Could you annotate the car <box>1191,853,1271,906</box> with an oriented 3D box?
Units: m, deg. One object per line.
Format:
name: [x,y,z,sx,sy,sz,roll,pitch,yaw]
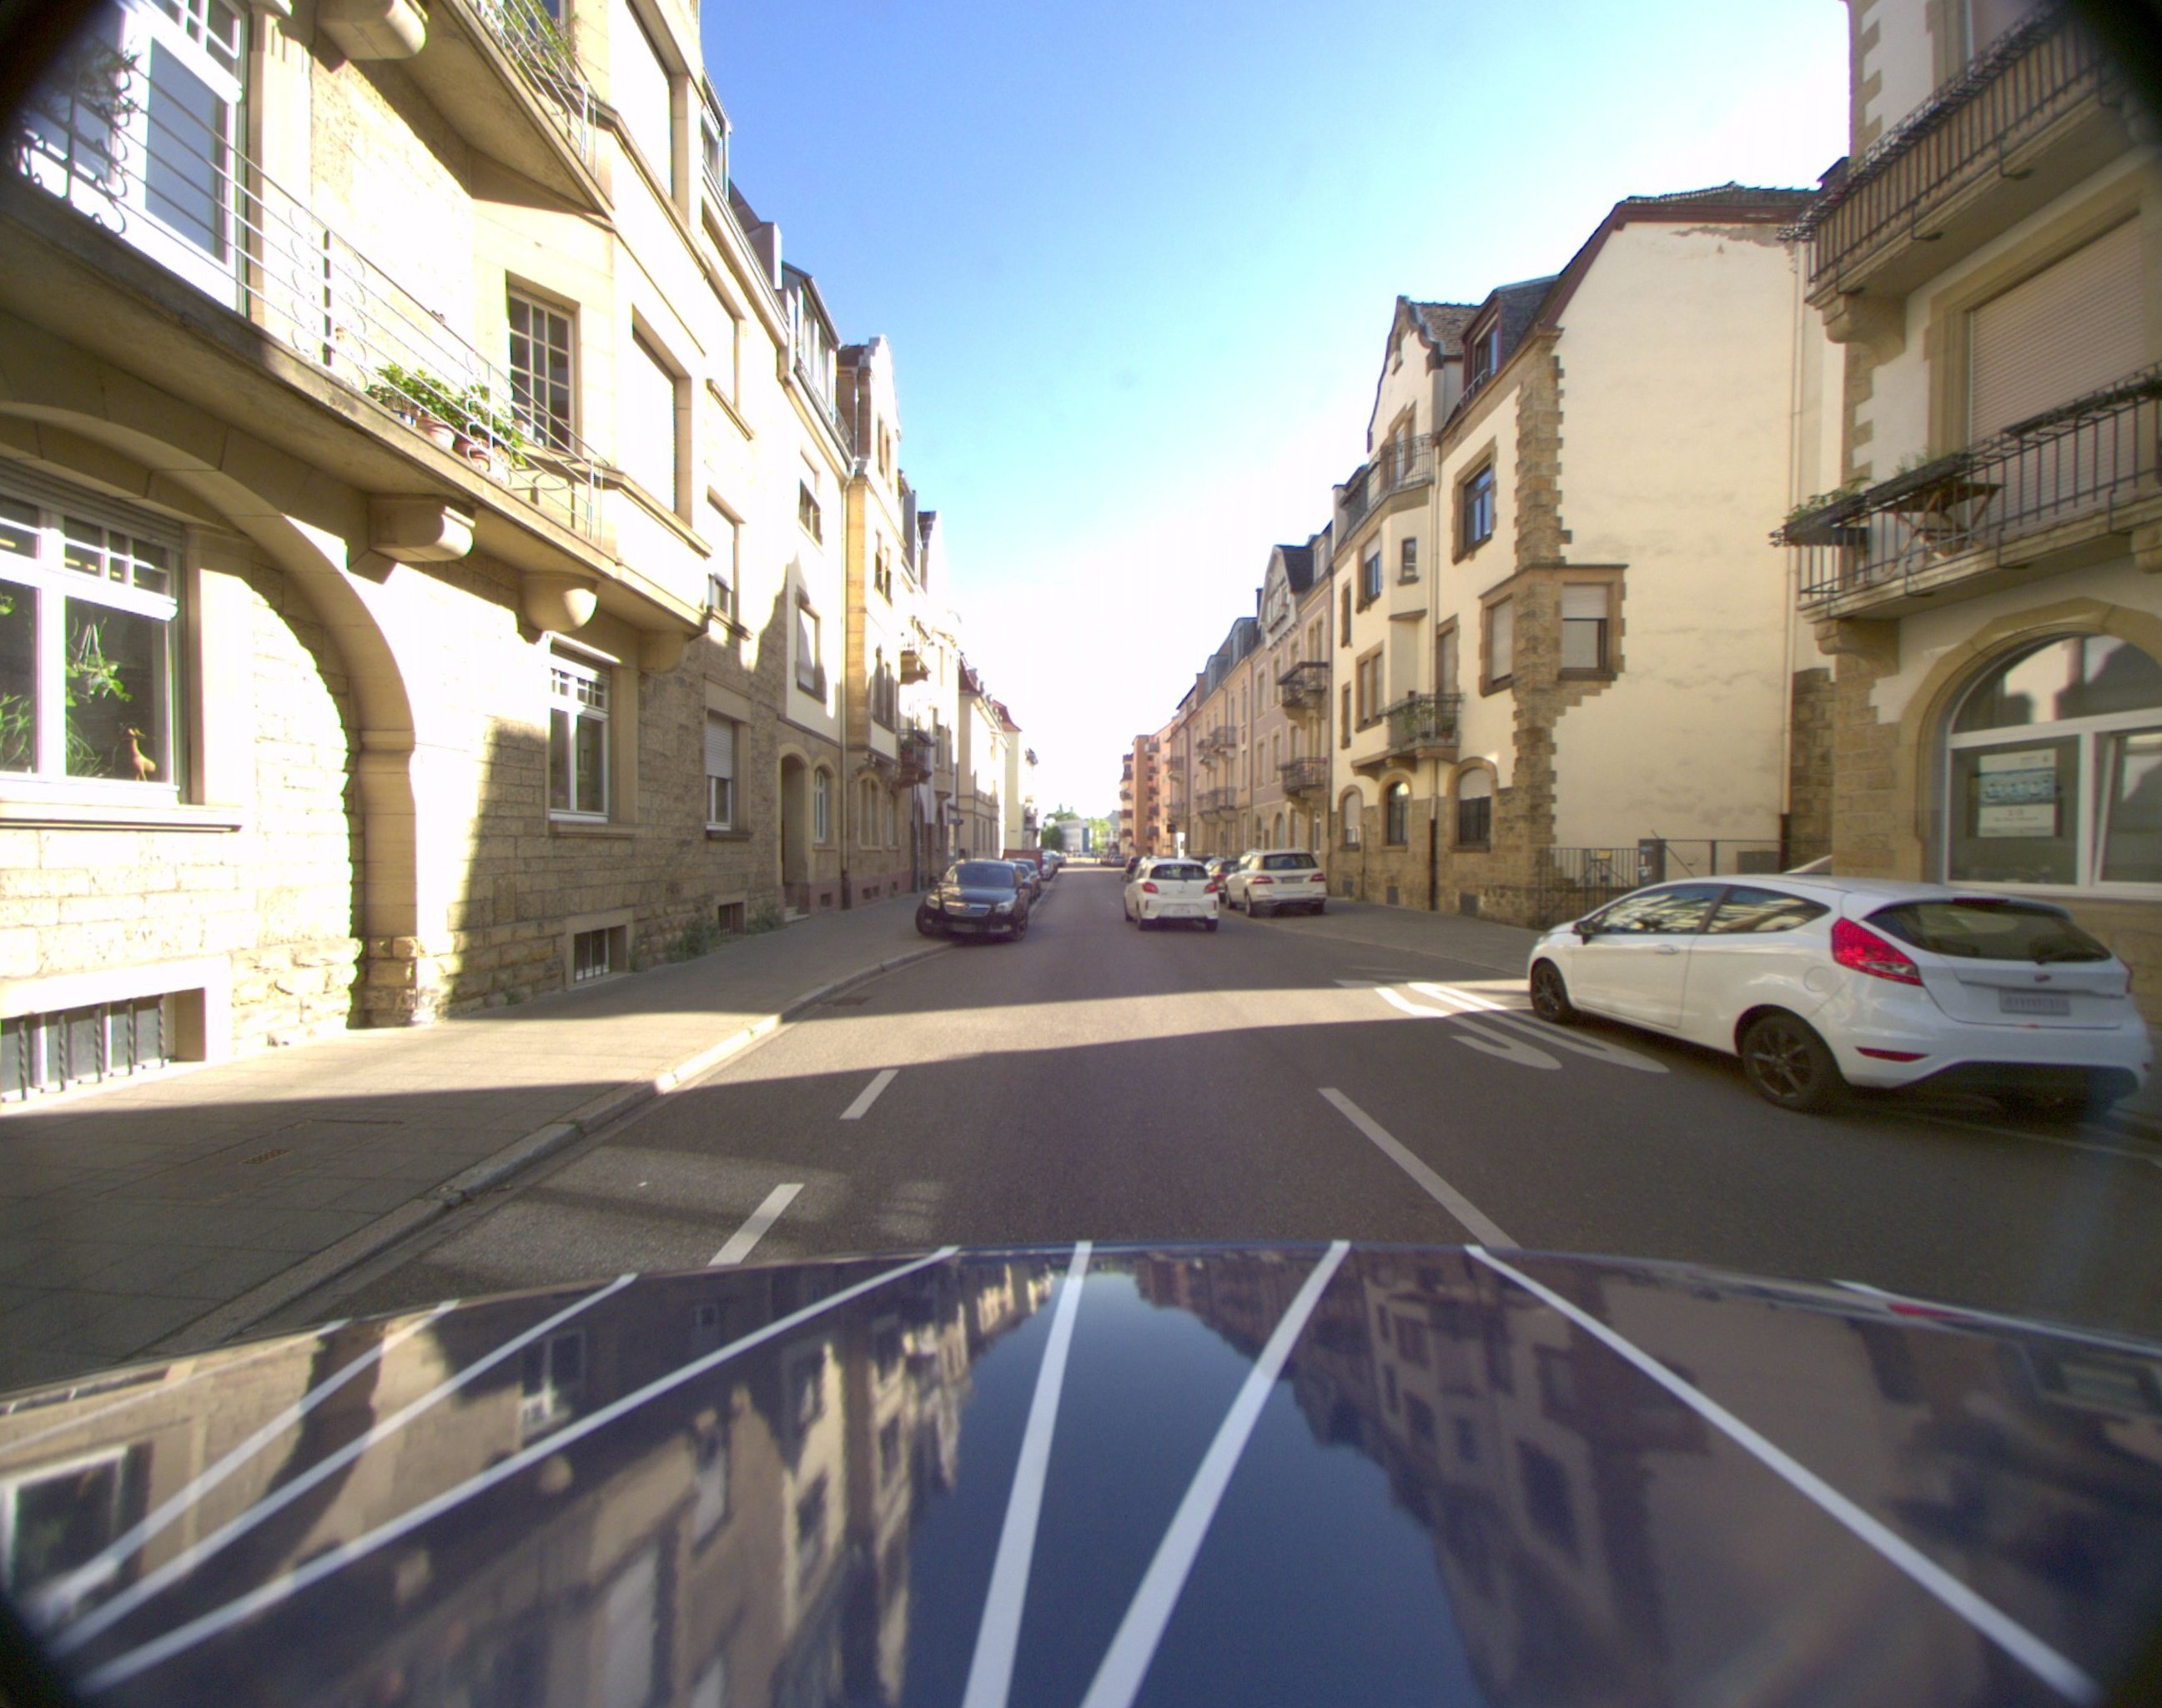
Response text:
car: [5.120,0.816,26.543,1.890,1.500,4.320,-4,1,1]

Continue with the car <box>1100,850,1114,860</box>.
car: [3.950,0.175,116.758,2.005,1.500,4.320,1,1,-1]

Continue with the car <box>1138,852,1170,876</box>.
car: [4.988,0.661,52.349,1.809,1.500,4.003,-2,1,1]

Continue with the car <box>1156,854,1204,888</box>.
car: [4.852,0.811,37.805,1.857,1.491,4.318,-2,1,1]

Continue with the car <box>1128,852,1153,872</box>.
car: [4.888,0.633,62.971,1.793,1.500,4.320,-2,1,1]

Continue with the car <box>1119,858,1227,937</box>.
car: [1.894,0.866,16.600,1.703,1.474,3.533,1,0,-4]

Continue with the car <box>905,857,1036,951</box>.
car: [-2.039,0.878,15.268,2.024,1.500,4.111,2,1,-1]

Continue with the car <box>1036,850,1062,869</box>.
car: [-2.677,0.444,64.497,2.005,1.500,4.320,1,1,-1]

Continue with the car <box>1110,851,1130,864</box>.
car: [4.666,0.398,91.390,2.005,1.500,4.320,1,1,-1]

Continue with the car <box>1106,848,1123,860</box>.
car: [4.503,-0.009,102.009,2.005,1.500,4.320,1,1,-1]

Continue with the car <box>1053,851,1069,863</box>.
car: [-2.591,0.420,99.950,2.005,1.500,4.320,1,1,-1]

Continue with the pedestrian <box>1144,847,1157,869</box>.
pedestrian: [6.259,0.361,68.764,0.952,2.002,1.066,-2,1,-3]

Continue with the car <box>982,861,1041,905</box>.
car: [-2.236,0.922,25.376,1.661,1.272,3.729,1,1,-1]

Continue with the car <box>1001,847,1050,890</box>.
car: [-2.562,0.623,35.807,2.005,1.828,4.320,1,1,-1]

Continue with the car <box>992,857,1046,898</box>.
car: [-2.387,0.886,30.118,1.824,1.415,4.320,1,1,-1]

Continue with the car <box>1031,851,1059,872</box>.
car: [-2.749,0.529,58.664,2.005,1.500,4.320,1,1,-1]

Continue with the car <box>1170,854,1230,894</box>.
car: [4.981,0.789,32.364,1.890,1.500,4.320,-2,1,1]

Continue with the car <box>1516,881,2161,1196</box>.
car: [5.111,1.011,5.697,1.656,1.449,3.643,2,0,2]

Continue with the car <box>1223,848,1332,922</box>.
car: [5.193,0.747,20.683,1.890,1.717,4.211,-2,1,1]

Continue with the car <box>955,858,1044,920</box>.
car: [-2.099,0.870,20.797,2.005,1.499,4.321,1,0,-1]

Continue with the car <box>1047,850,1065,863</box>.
car: [-2.851,0.257,88.976,2.005,1.500,4.320,1,1,-1]

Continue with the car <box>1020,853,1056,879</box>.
car: [-2.657,0.711,47.865,2.005,1.500,4.320,1,1,-1]

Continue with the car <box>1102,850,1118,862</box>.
car: [4.104,0.276,107.249,2.005,1.500,4.320,1,1,-1]

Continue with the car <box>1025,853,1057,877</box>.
car: [-2.752,0.731,52.639,2.005,1.500,4.320,1,1,-1]

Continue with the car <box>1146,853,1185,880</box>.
car: [5.054,0.722,46.111,1.890,1.500,4.320,-2,1,1]

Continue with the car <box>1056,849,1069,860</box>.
car: [-2.950,0.056,123.334,2.005,1.722,4.320,1,1,-1]

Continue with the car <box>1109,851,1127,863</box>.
car: [4.615,0.381,96.204,2.005,1.500,4.320,1,1,-1]
